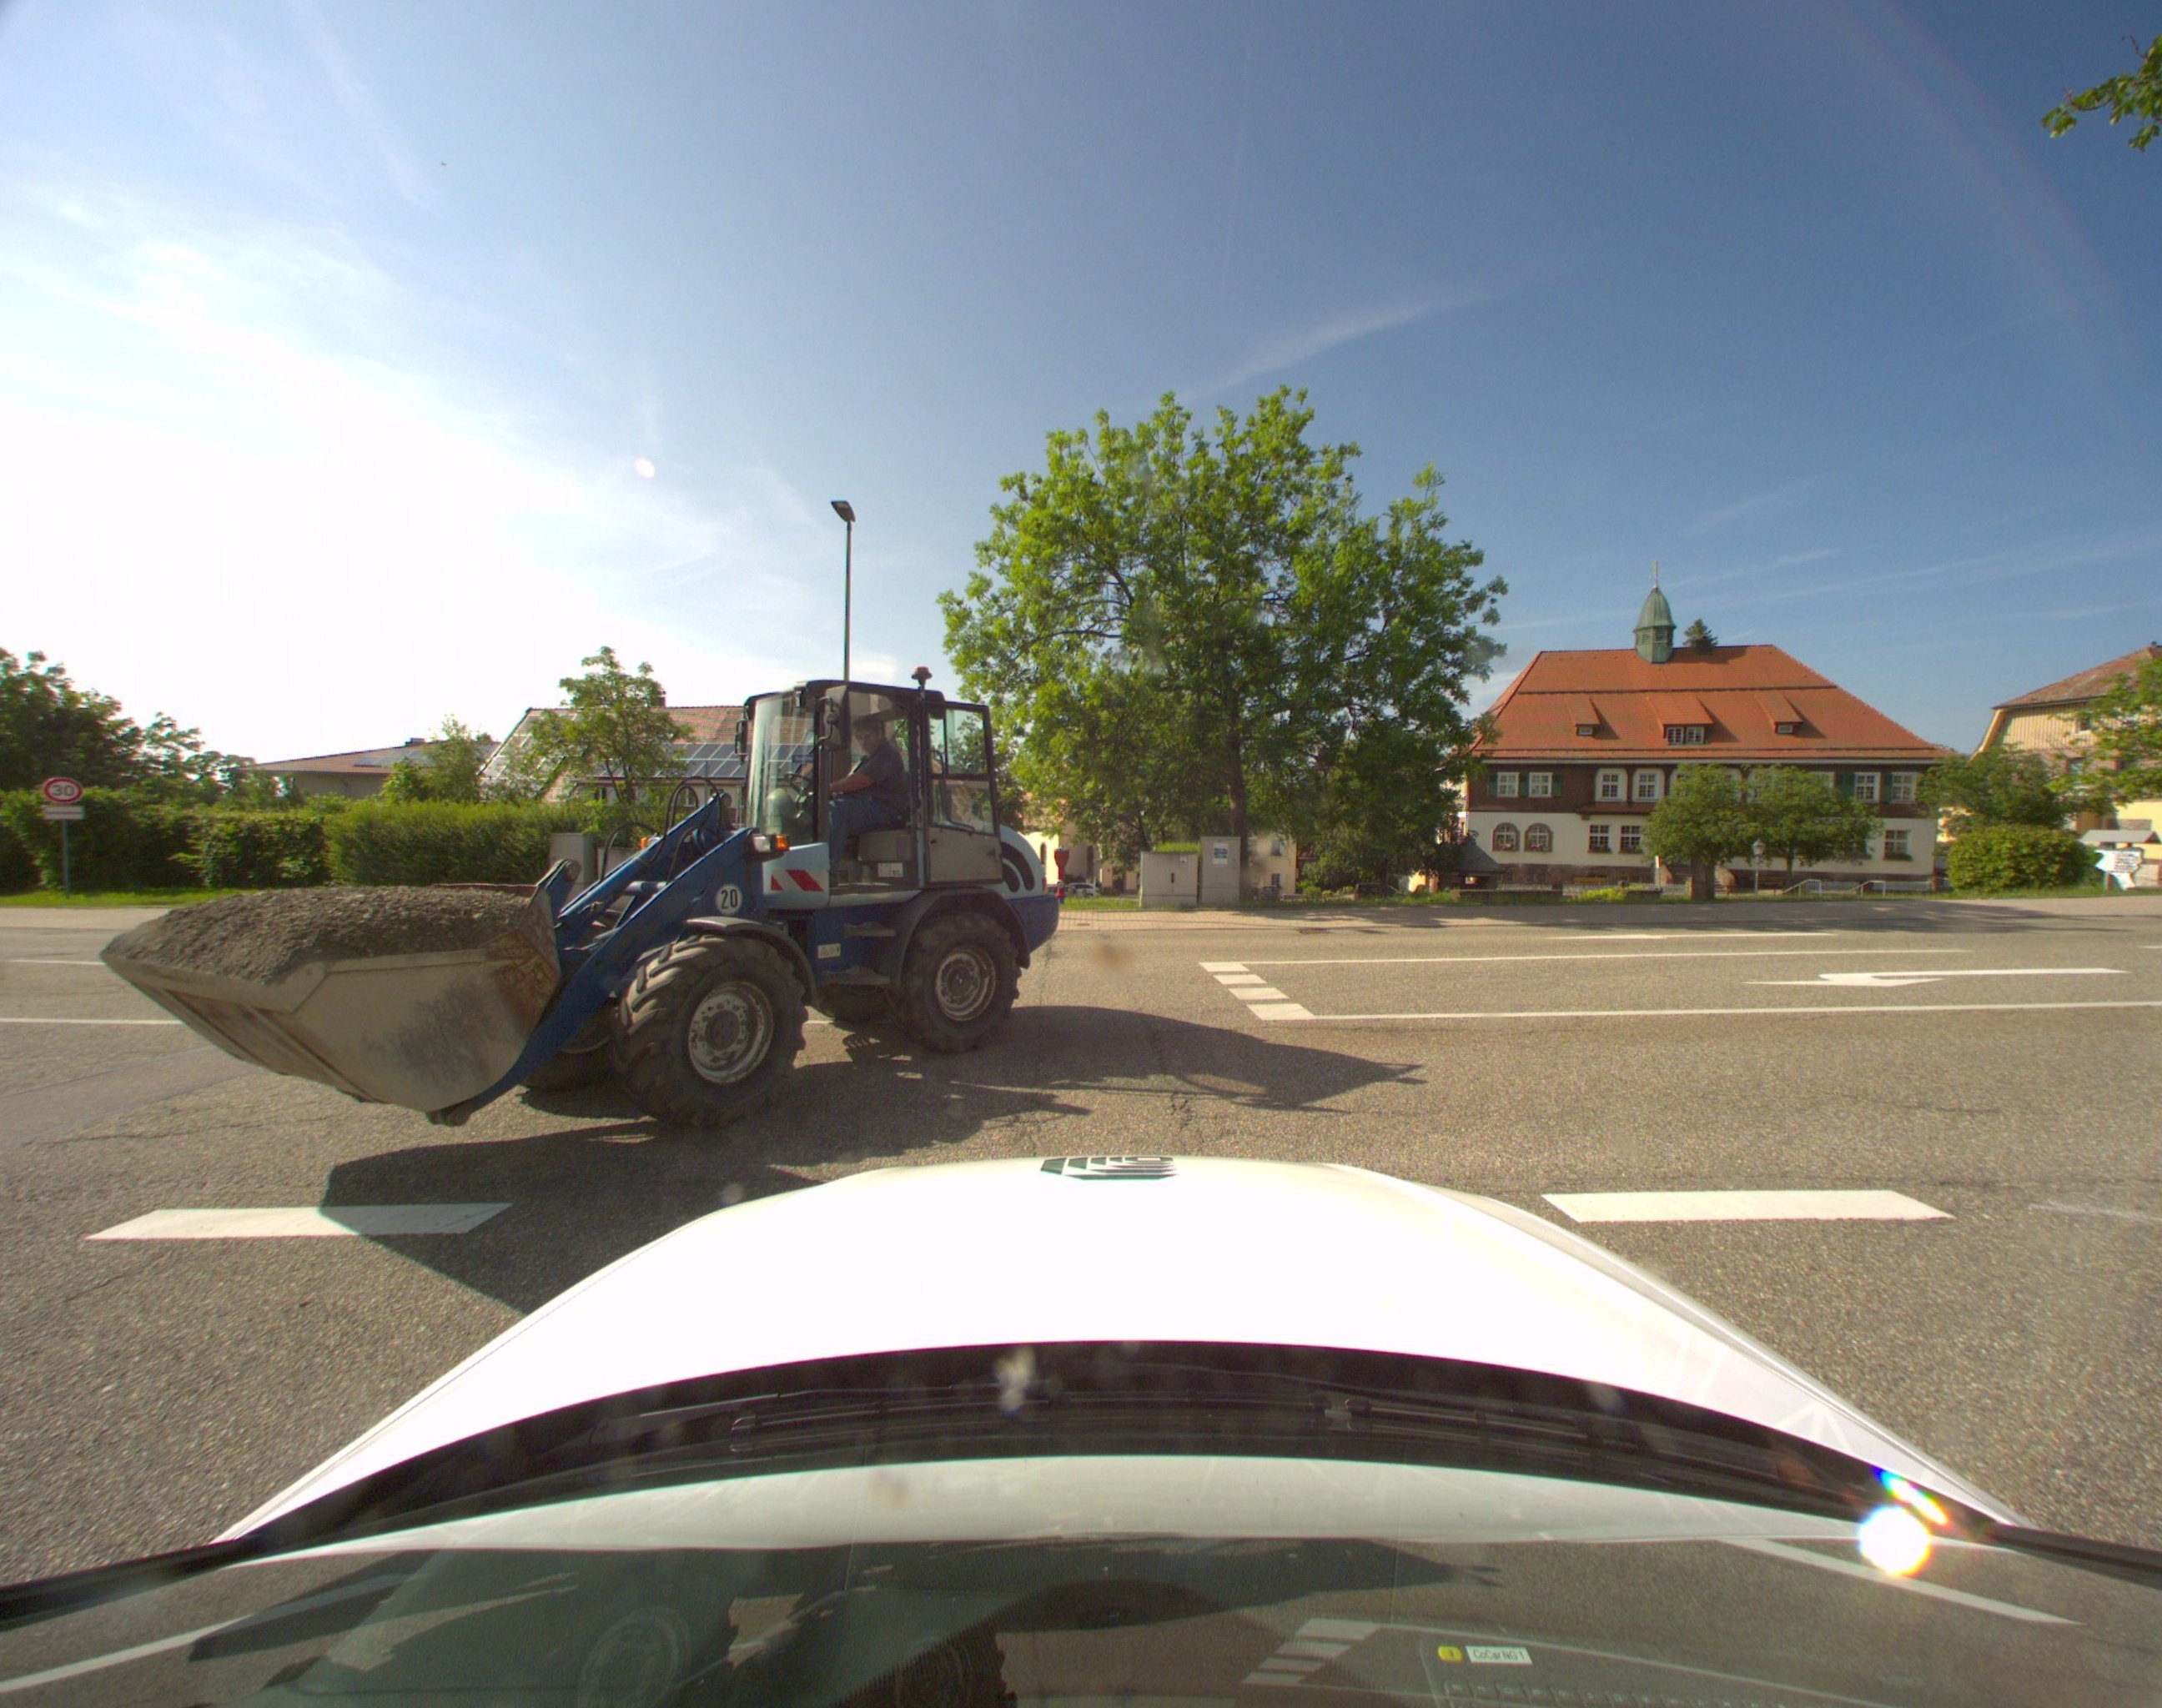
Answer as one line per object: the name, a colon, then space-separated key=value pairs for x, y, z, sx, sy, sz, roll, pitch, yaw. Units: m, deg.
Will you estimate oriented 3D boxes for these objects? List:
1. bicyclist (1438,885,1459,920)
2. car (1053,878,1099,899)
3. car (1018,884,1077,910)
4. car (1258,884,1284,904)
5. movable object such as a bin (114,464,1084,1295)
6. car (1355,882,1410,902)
bicyclist: x=20.623 y=2.686 z=45.698 sx=0.987 sy=1.925 sz=0.584 roll=-1 pitch=-1 yaw=16
car: x=-0.433 y=2.895 z=68.635 sx=3.765 sy=1.593 sz=1.711 roll=-1 pitch=-1 yaw=-4
car: x=-2.379 y=3.046 z=57.824 sx=4.081 sy=1.758 sz=1.711 roll=-1 pitch=-1 yaw=-3
car: x=15.751 y=3.298 z=67.670 sx=1.699 sy=1.542 sz=3.791 roll=-1 pitch=-1 yaw=6
movable object such as a bin: x=-2.257 y=0.045 z=5.379 sx=1.974 sy=2.769 sz=5.138 roll=0 pitch=1 yaw=35
car: x=22.576 y=2.823 z=61.111 sx=3.746 sy=1.444 sz=1.720 roll=-1 pitch=-1 yaw=14
